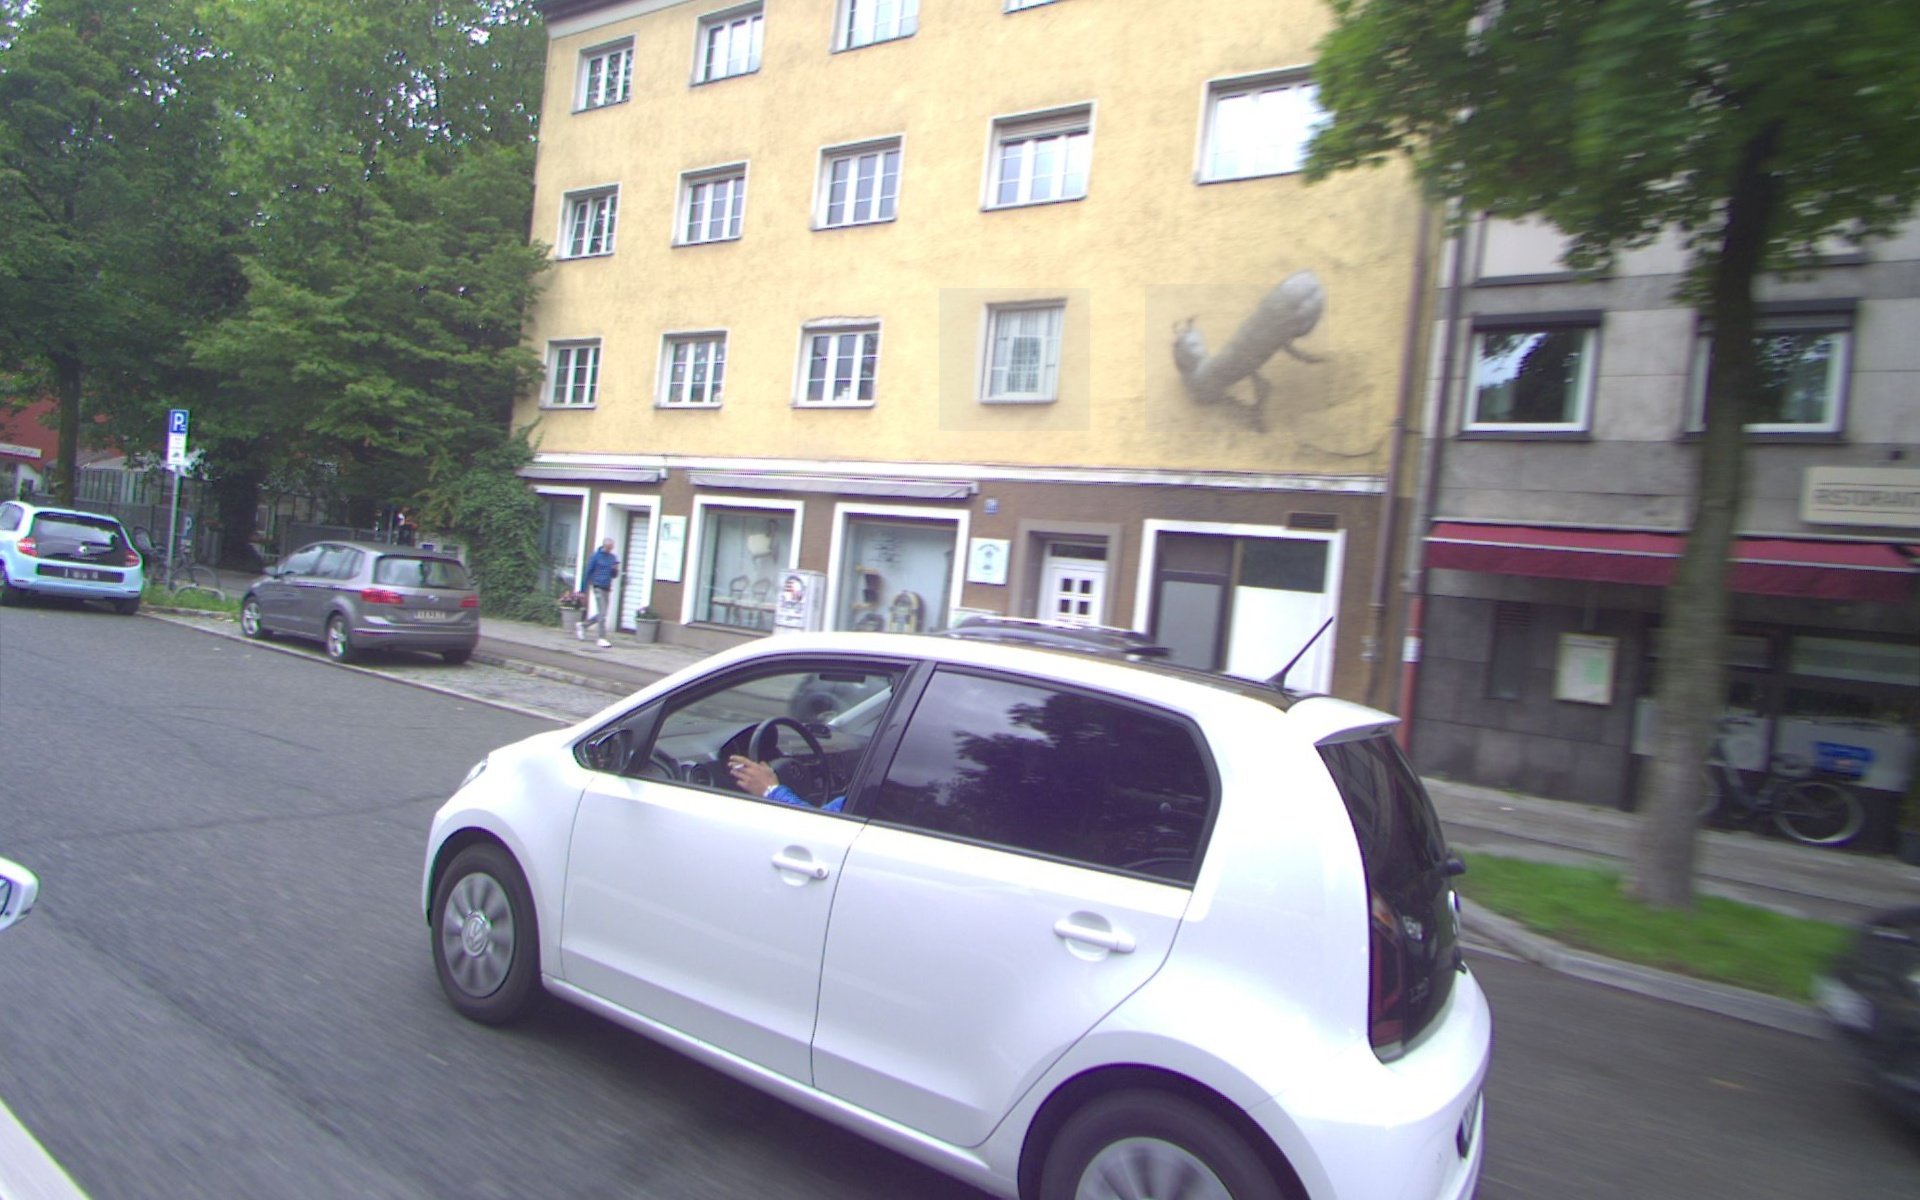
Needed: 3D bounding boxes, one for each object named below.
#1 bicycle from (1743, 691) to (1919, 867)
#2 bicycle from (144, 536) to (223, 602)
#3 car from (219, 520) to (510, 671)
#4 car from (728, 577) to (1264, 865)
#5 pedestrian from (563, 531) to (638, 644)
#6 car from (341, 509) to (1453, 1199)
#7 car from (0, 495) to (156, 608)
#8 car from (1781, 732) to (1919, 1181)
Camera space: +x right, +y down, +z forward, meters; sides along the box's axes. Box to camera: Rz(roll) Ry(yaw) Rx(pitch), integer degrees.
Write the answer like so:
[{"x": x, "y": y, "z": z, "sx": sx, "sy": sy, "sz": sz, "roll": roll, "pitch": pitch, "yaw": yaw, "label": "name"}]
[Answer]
[{"x": 8.908, "y": 1.753, "z": 9.929, "sx": 1.660, "sy": 1.482, "sz": 0.580, "roll": 7, "pitch": 1, "yaw": 32, "label": "bicycle"}, {"x": -13.779, "y": -0.555, "z": 17.836, "sx": 1.769, "sy": 0.992, "sz": 0.448, "roll": 7, "pitch": 0, "yaw": 32, "label": "bicycle"}, {"x": -8.565, "y": -0.100, "z": 14.372, "sx": 4.237, "sy": 1.647, "sz": 1.816, "roll": 7, "pitch": 1, "yaw": 33, "label": "car"}, {"x": 0.244, "y": 0.901, "z": 9.048, "sx": 4.261, "sy": 1.663, "sz": 1.996, "roll": 7, "pitch": 0, "yaw": 32, "label": "car"}, {"x": -6.327, "y": -0.205, "z": 17.710, "sx": 0.763, "sy": 1.880, "sz": 0.793, "roll": 7, "pitch": 2, "yaw": 29, "label": "pedestrian"}, {"x": -0.294, "y": 0.667, "z": 3.515, "sx": 3.377, "sy": 1.507, "sz": 1.690, "roll": 7, "pitch": -1, "yaw": 31, "label": "car"}, {"x": -14.654, "y": -0.848, "z": 16.103, "sx": 3.936, "sy": 1.470, "sz": 1.654, "roll": 7, "pitch": 1, "yaw": 35, "label": "car"}, {"x": 5.514, "y": 1.532, "z": 3.292, "sx": 3.931, "sy": 1.470, "sz": 1.997, "roll": 7, "pitch": 0, "yaw": 29, "label": "car"}]
